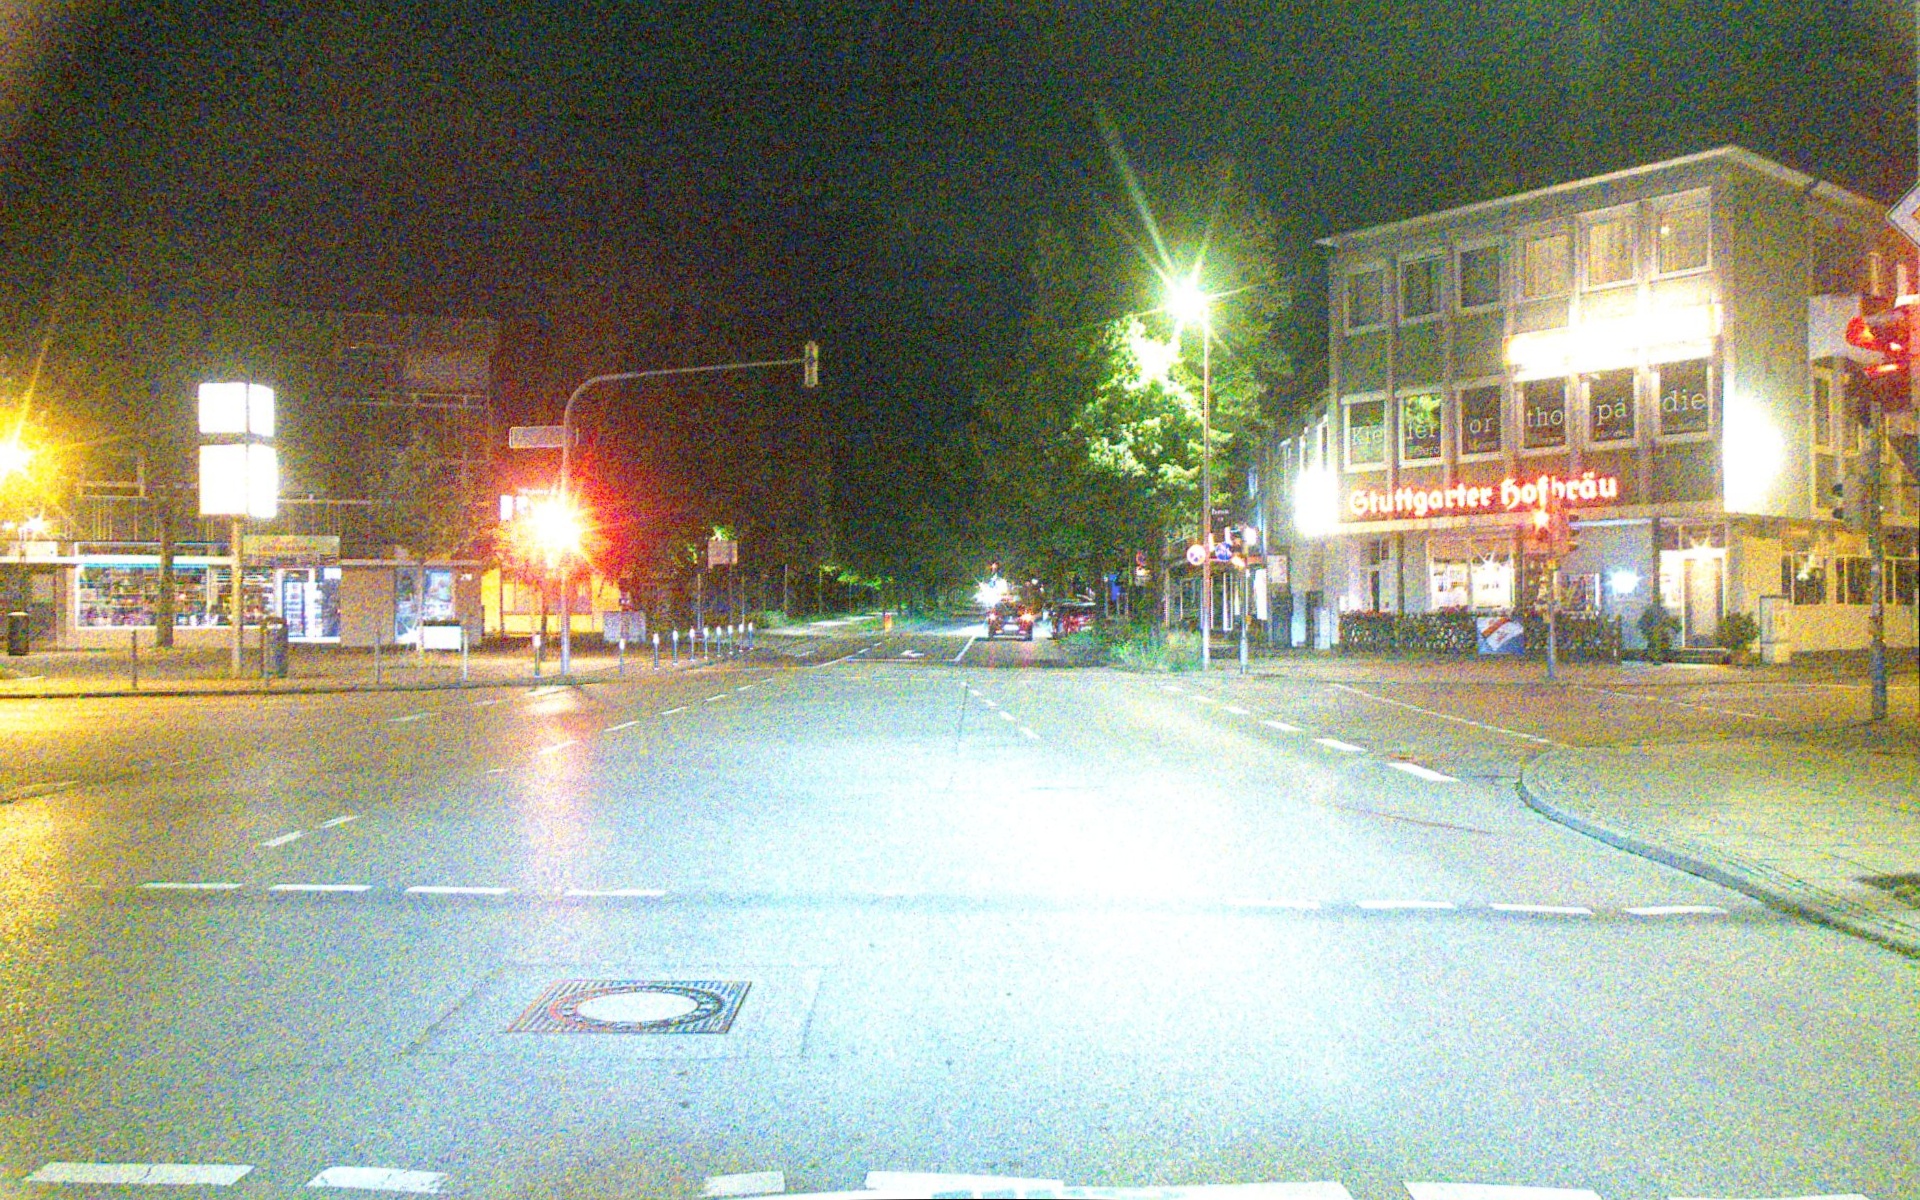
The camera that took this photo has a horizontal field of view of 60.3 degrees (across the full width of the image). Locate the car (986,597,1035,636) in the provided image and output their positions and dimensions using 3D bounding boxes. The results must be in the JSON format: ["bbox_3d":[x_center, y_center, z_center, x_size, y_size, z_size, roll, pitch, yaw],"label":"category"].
[{"bbox_3d":[2.072,0.665,66.317,1.834,1.479,4.318,1,0,3],"label":"car"}]

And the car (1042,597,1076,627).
[{"bbox_3d":[5.660,0.675,94.584,1.837,1.713,4.001,0,0,2],"label":"car"}]

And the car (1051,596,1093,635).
[{"bbox_3d":[5.151,0.709,76.540,1.837,1.759,4.001,0,0,2],"label":"car"}]

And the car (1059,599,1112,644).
[{"bbox_3d":[4.788,0.800,63.566,1.837,1.643,4.001,0,0,2],"label":"car"}]

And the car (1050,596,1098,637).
[{"bbox_3d":[4.727,0.680,68.864,1.837,1.643,4.001,0,0,2],"label":"car"}]
